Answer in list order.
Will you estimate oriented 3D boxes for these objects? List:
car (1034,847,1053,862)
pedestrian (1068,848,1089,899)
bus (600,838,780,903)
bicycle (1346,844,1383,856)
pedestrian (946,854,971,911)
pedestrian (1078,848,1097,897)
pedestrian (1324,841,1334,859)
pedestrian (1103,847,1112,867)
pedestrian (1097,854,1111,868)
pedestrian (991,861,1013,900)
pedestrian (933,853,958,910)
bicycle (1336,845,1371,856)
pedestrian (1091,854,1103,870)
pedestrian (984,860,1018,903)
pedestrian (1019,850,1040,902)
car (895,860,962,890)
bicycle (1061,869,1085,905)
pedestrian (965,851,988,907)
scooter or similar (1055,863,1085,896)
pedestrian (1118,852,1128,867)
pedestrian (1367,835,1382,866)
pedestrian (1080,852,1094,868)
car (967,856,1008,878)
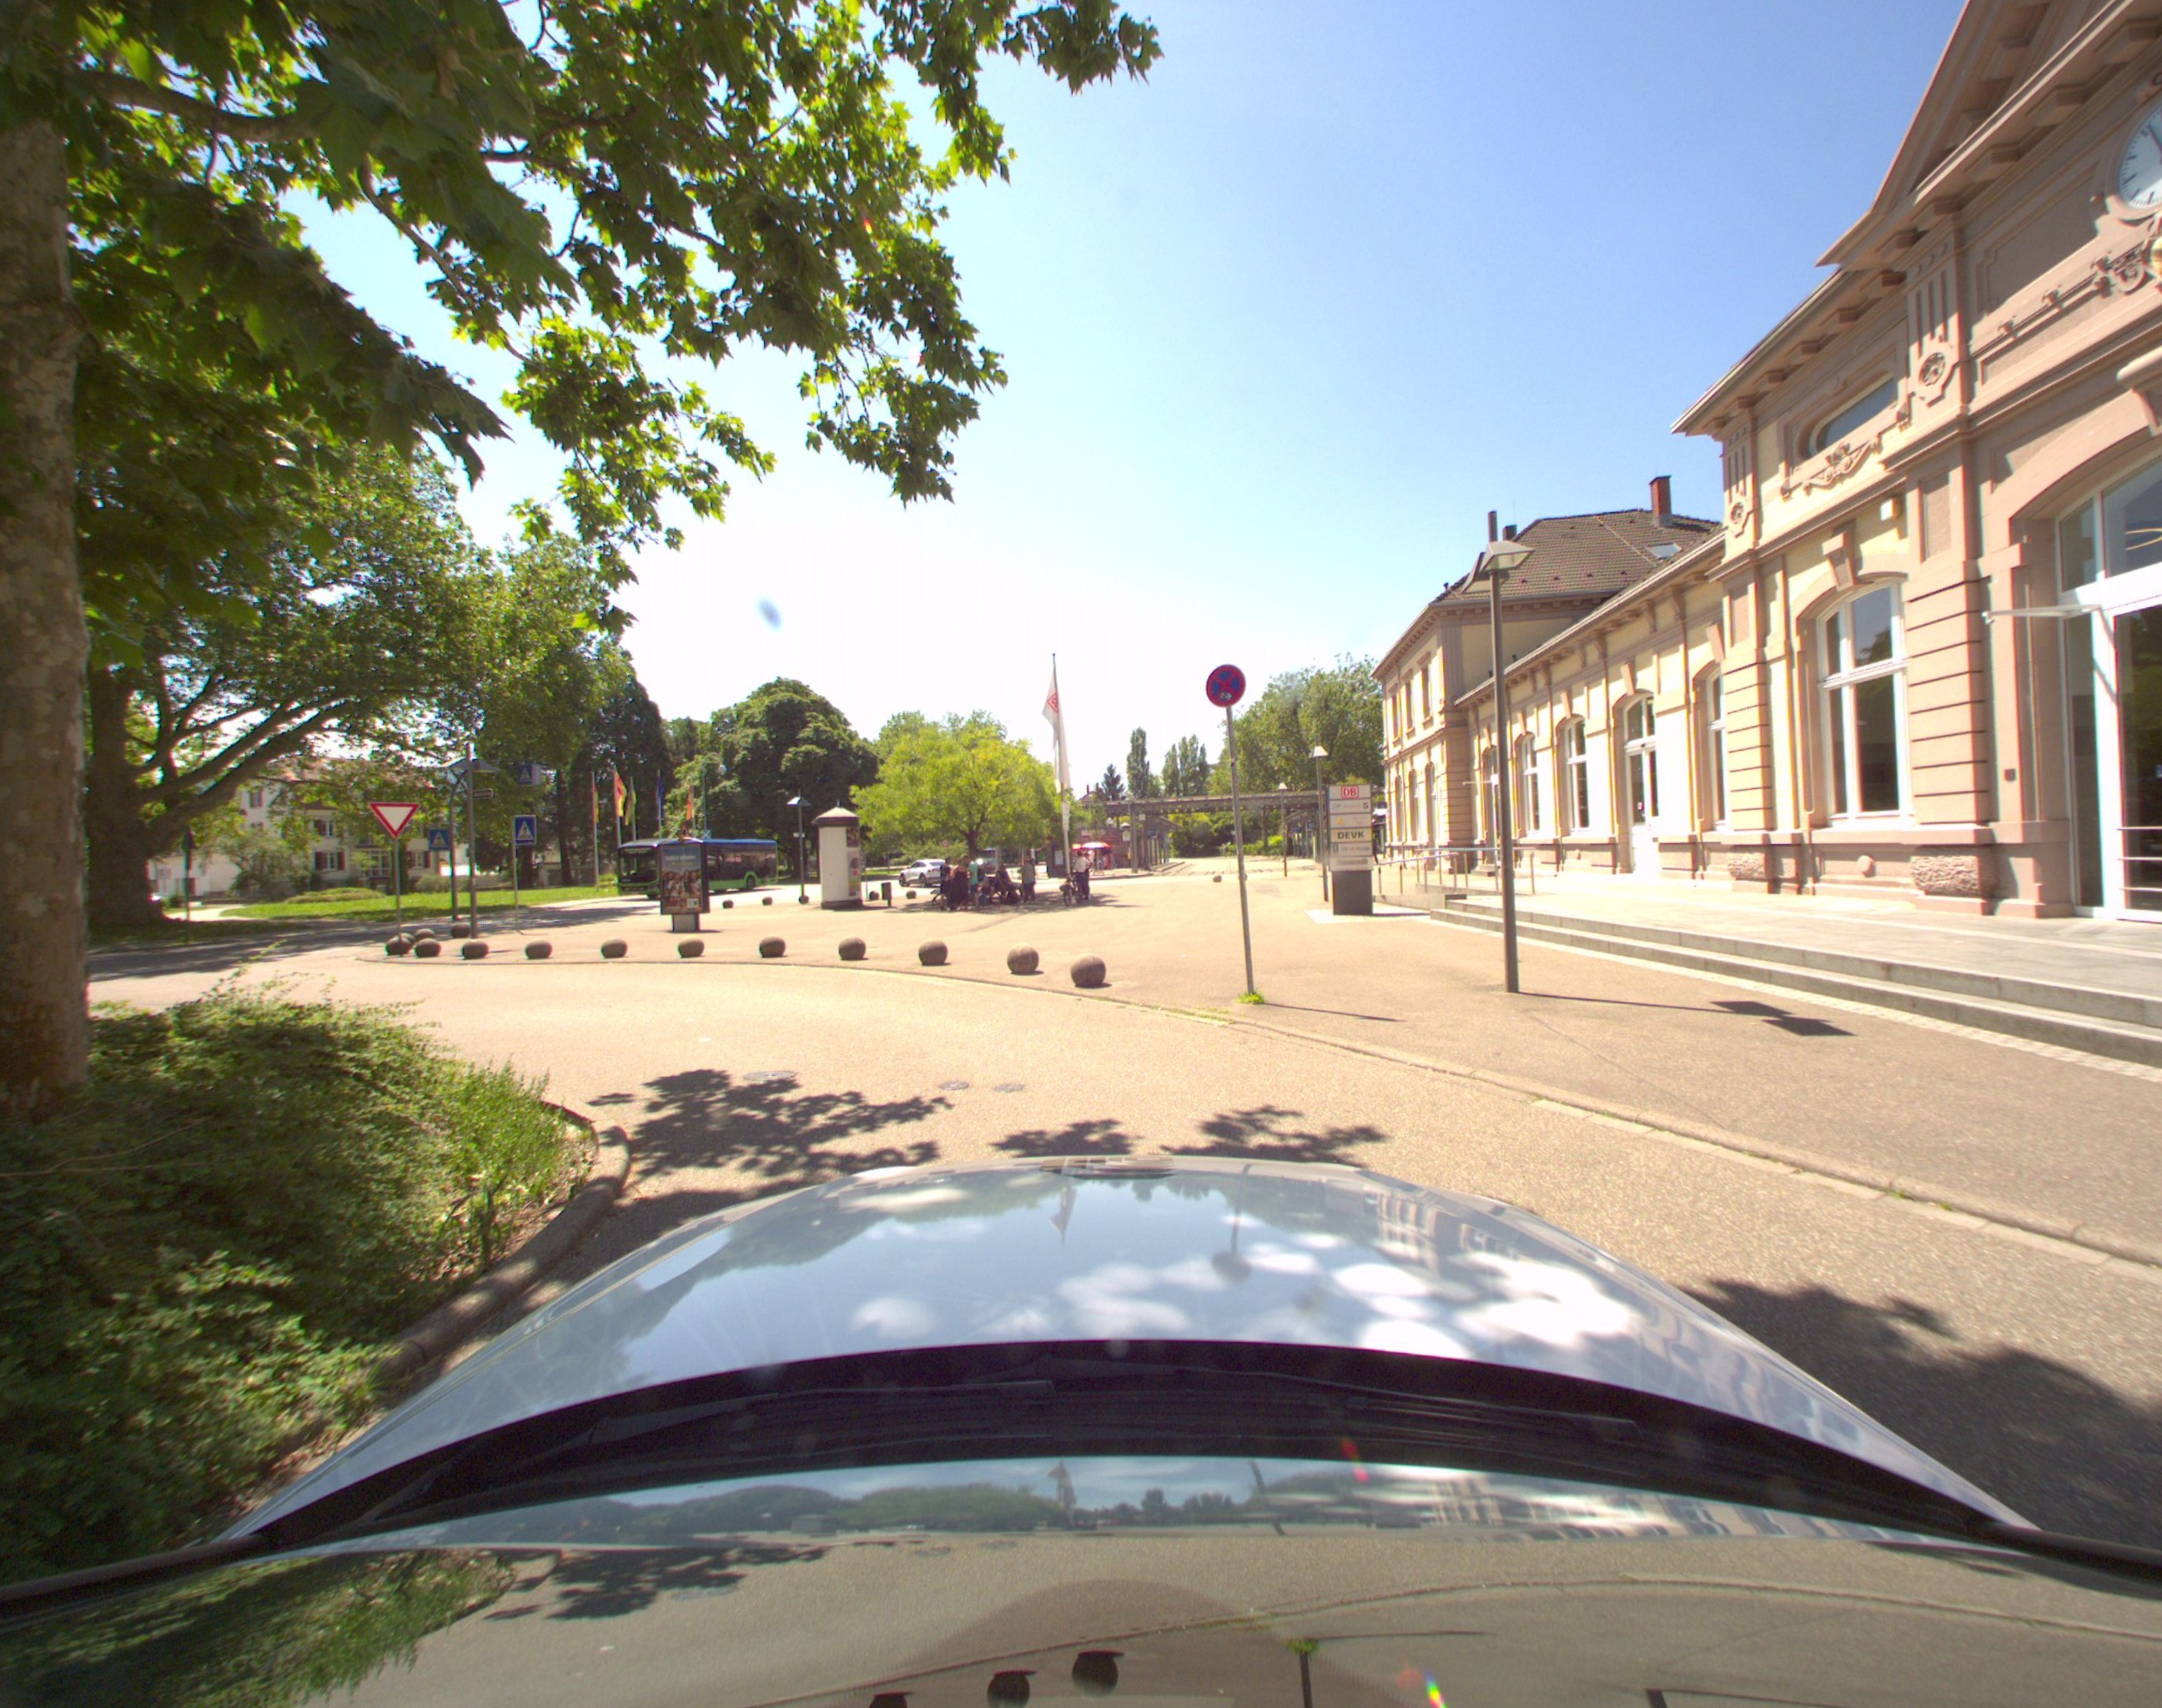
[{"bbox_3d":[-5.725,0.045,123.001,2.202,2.173,4.866,-2,0,-9],"label":"car"},{"bbox_3d":[-0.089,0.663,27.771,0.616,1.685,0.590,-2,0,-2],"label":"pedestrian"},{"bbox_3d":[-22.700,0.799,48.641,2.791,3.282,12.460,-2,0,10],"label":"bus"},{"bbox_3d":[23.110,-0.322,66.348,2.771,1.004,0.813,0,0,8],"label":"bicycle"},{"bbox_3d":[-3.832,0.872,25.481,0.627,1.739,0.545,-2,0,-16],"label":"pedestrian"},{"bbox_3d":[0.230,0.638,28.381,0.552,1.685,0.587,-2,0,-2],"label":"pedestrian"},{"bbox_3d":[20.474,-0.342,67.158,0.621,1.395,0.678,-4,-1,10],"label":"pedestrian"},{"bbox_3d":[2.302,0.271,70.757,0.682,1.737,0.709,-2,0,10],"label":"pedestrian"},{"bbox_3d":[1.907,0.568,67.311,0.896,1.161,0.683,-2,0,-25],"label":"pedestrian"},{"bbox_3d":[-2.831,0.943,29.099,0.599,1.364,0.596,-3,0,-18],"label":"pedestrian"},{"bbox_3d":[-4.342,0.867,26.053,0.691,1.763,0.583,-2,0,-11],"label":"pedestrian"},{"bbox_3d":[24.139,-0.303,72.175,2.771,1.004,0.813,0,0,8],"label":"bicycle"},{"bbox_3d":[1.232,0.626,63.333,0.681,1.161,0.898,-2,0,14],"label":"pedestrian"},{"bbox_3d":[-2.758,0.934,27.877,0.913,1.386,0.938,-2,0,-20],"label":"pedestrian"},{"bbox_3d":[-1.744,0.739,27.563,0.512,1.739,0.567,-2,0,-19],"label":"pedestrian"},{"bbox_3d":[-9.161,1.259,48.671,1.998,1.627,4.725,-3,0,-36],"label":"car"},{"bbox_3d":[-0.243,1.047,26.087,0.418,1.060,1.953,-2,0,8],"label":"bicycle"},{"bbox_3d":[-3.334,0.802,25.990,0.584,1.739,0.597,-2,0,-16],"label":"pedestrian"},{"bbox_3d":[-0.395,0.914,29.461,1.021,1.139,0.294,-2,0,2],"label":"scooter or similar"},{"bbox_3d":[3.438,0.469,66.528,0.754,1.205,0.739,0,0,10],"label":"pedestrian"},{"bbox_3d":[17.438,-0.196,48.374,0.681,1.809,0.636,-2,0,31],"label":"pedestrian"},{"bbox_3d":[0.488,0.496,67.653,0.896,1.312,0.683,-2,0,-25],"label":"pedestrian"},{"bbox_3d":[-7.398,1.031,65.070,1.915,1.460,4.737,-5,0,9],"label":"car"}]
